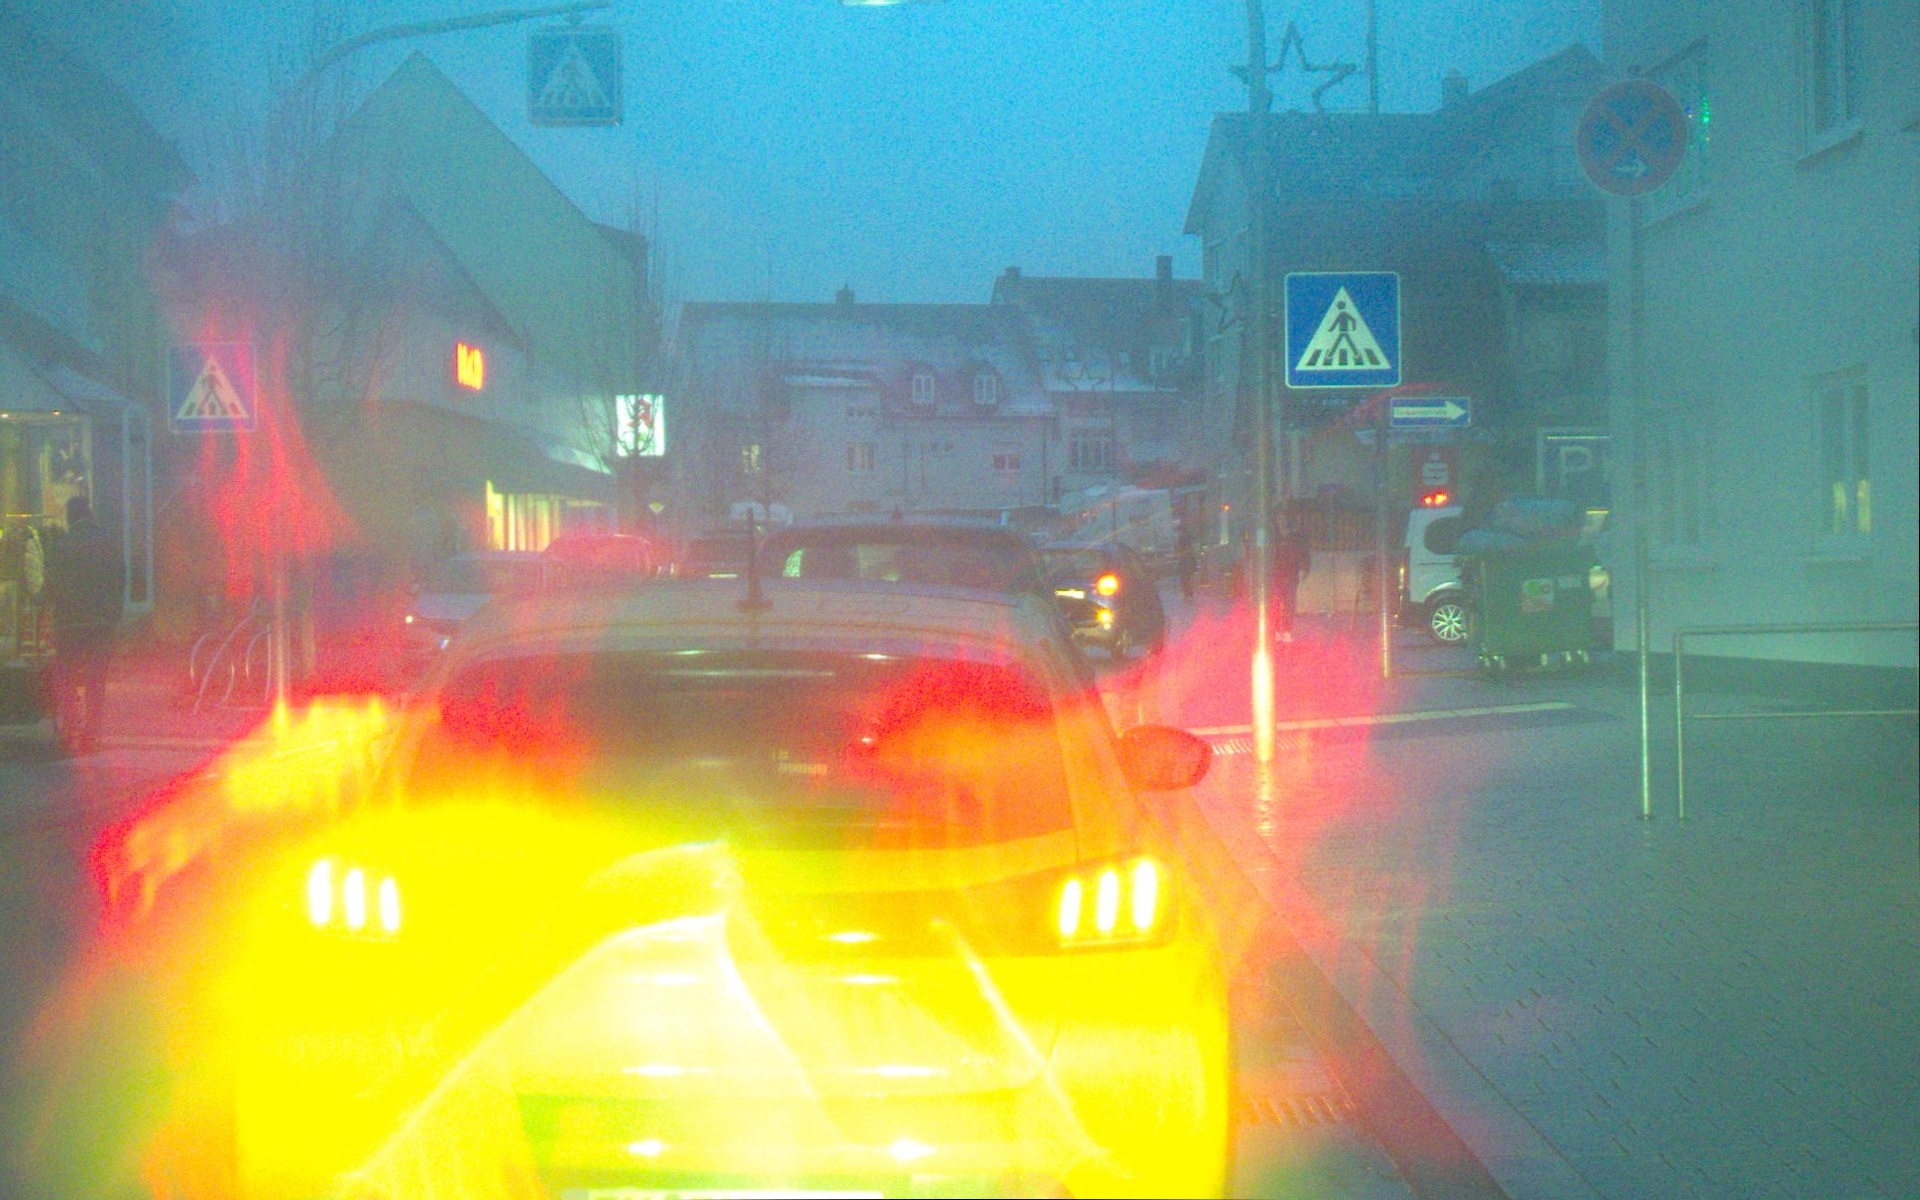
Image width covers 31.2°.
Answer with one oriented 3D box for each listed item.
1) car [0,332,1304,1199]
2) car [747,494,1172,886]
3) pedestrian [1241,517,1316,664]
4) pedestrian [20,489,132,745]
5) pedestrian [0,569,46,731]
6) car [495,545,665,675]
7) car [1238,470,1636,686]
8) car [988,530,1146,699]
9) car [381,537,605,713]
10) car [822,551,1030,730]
[{"bbox_3d":[-0.404,0.451,7.359,1.994,1.789,4.648,0,1,2],"label":"car"},{"bbox_3d":[0.025,0.370,16.669,1.798,1.656,4.000,1,0,1],"label":"car"},{"bbox_3d":[4.387,-0.137,47.366,1.016,2.007,1.275,0,1,5],"label":"pedestrian"},{"bbox_3d":[-6.555,0.119,25.513,0.703,1.870,0.617,1,1,-6],"label":"pedestrian"},{"bbox_3d":[-7.294,0.377,26.220,0.553,1.229,0.434,0,1,-4],"label":"pedestrian"},{"bbox_3d":[-5.287,0.107,48.326,1.993,1.746,4.362,0,1,-1],"label":"car"},{"bbox_3d":[4.602,-0.214,33.548,3.697,2.007,1.689,1,0,3],"label":"car"},{"bbox_3d":[1.322,0.139,43.878,1.641,2.007,4.001,-2,1,-3],"label":"car"},{"bbox_3d":[-5.531,0.254,41.257,1.993,2.007,4.361,0,1,1],"label":"car"},{"bbox_3d":[-0.260,0.333,33.049,1.827,1.596,4.581,0,1,2],"label":"car"}]
